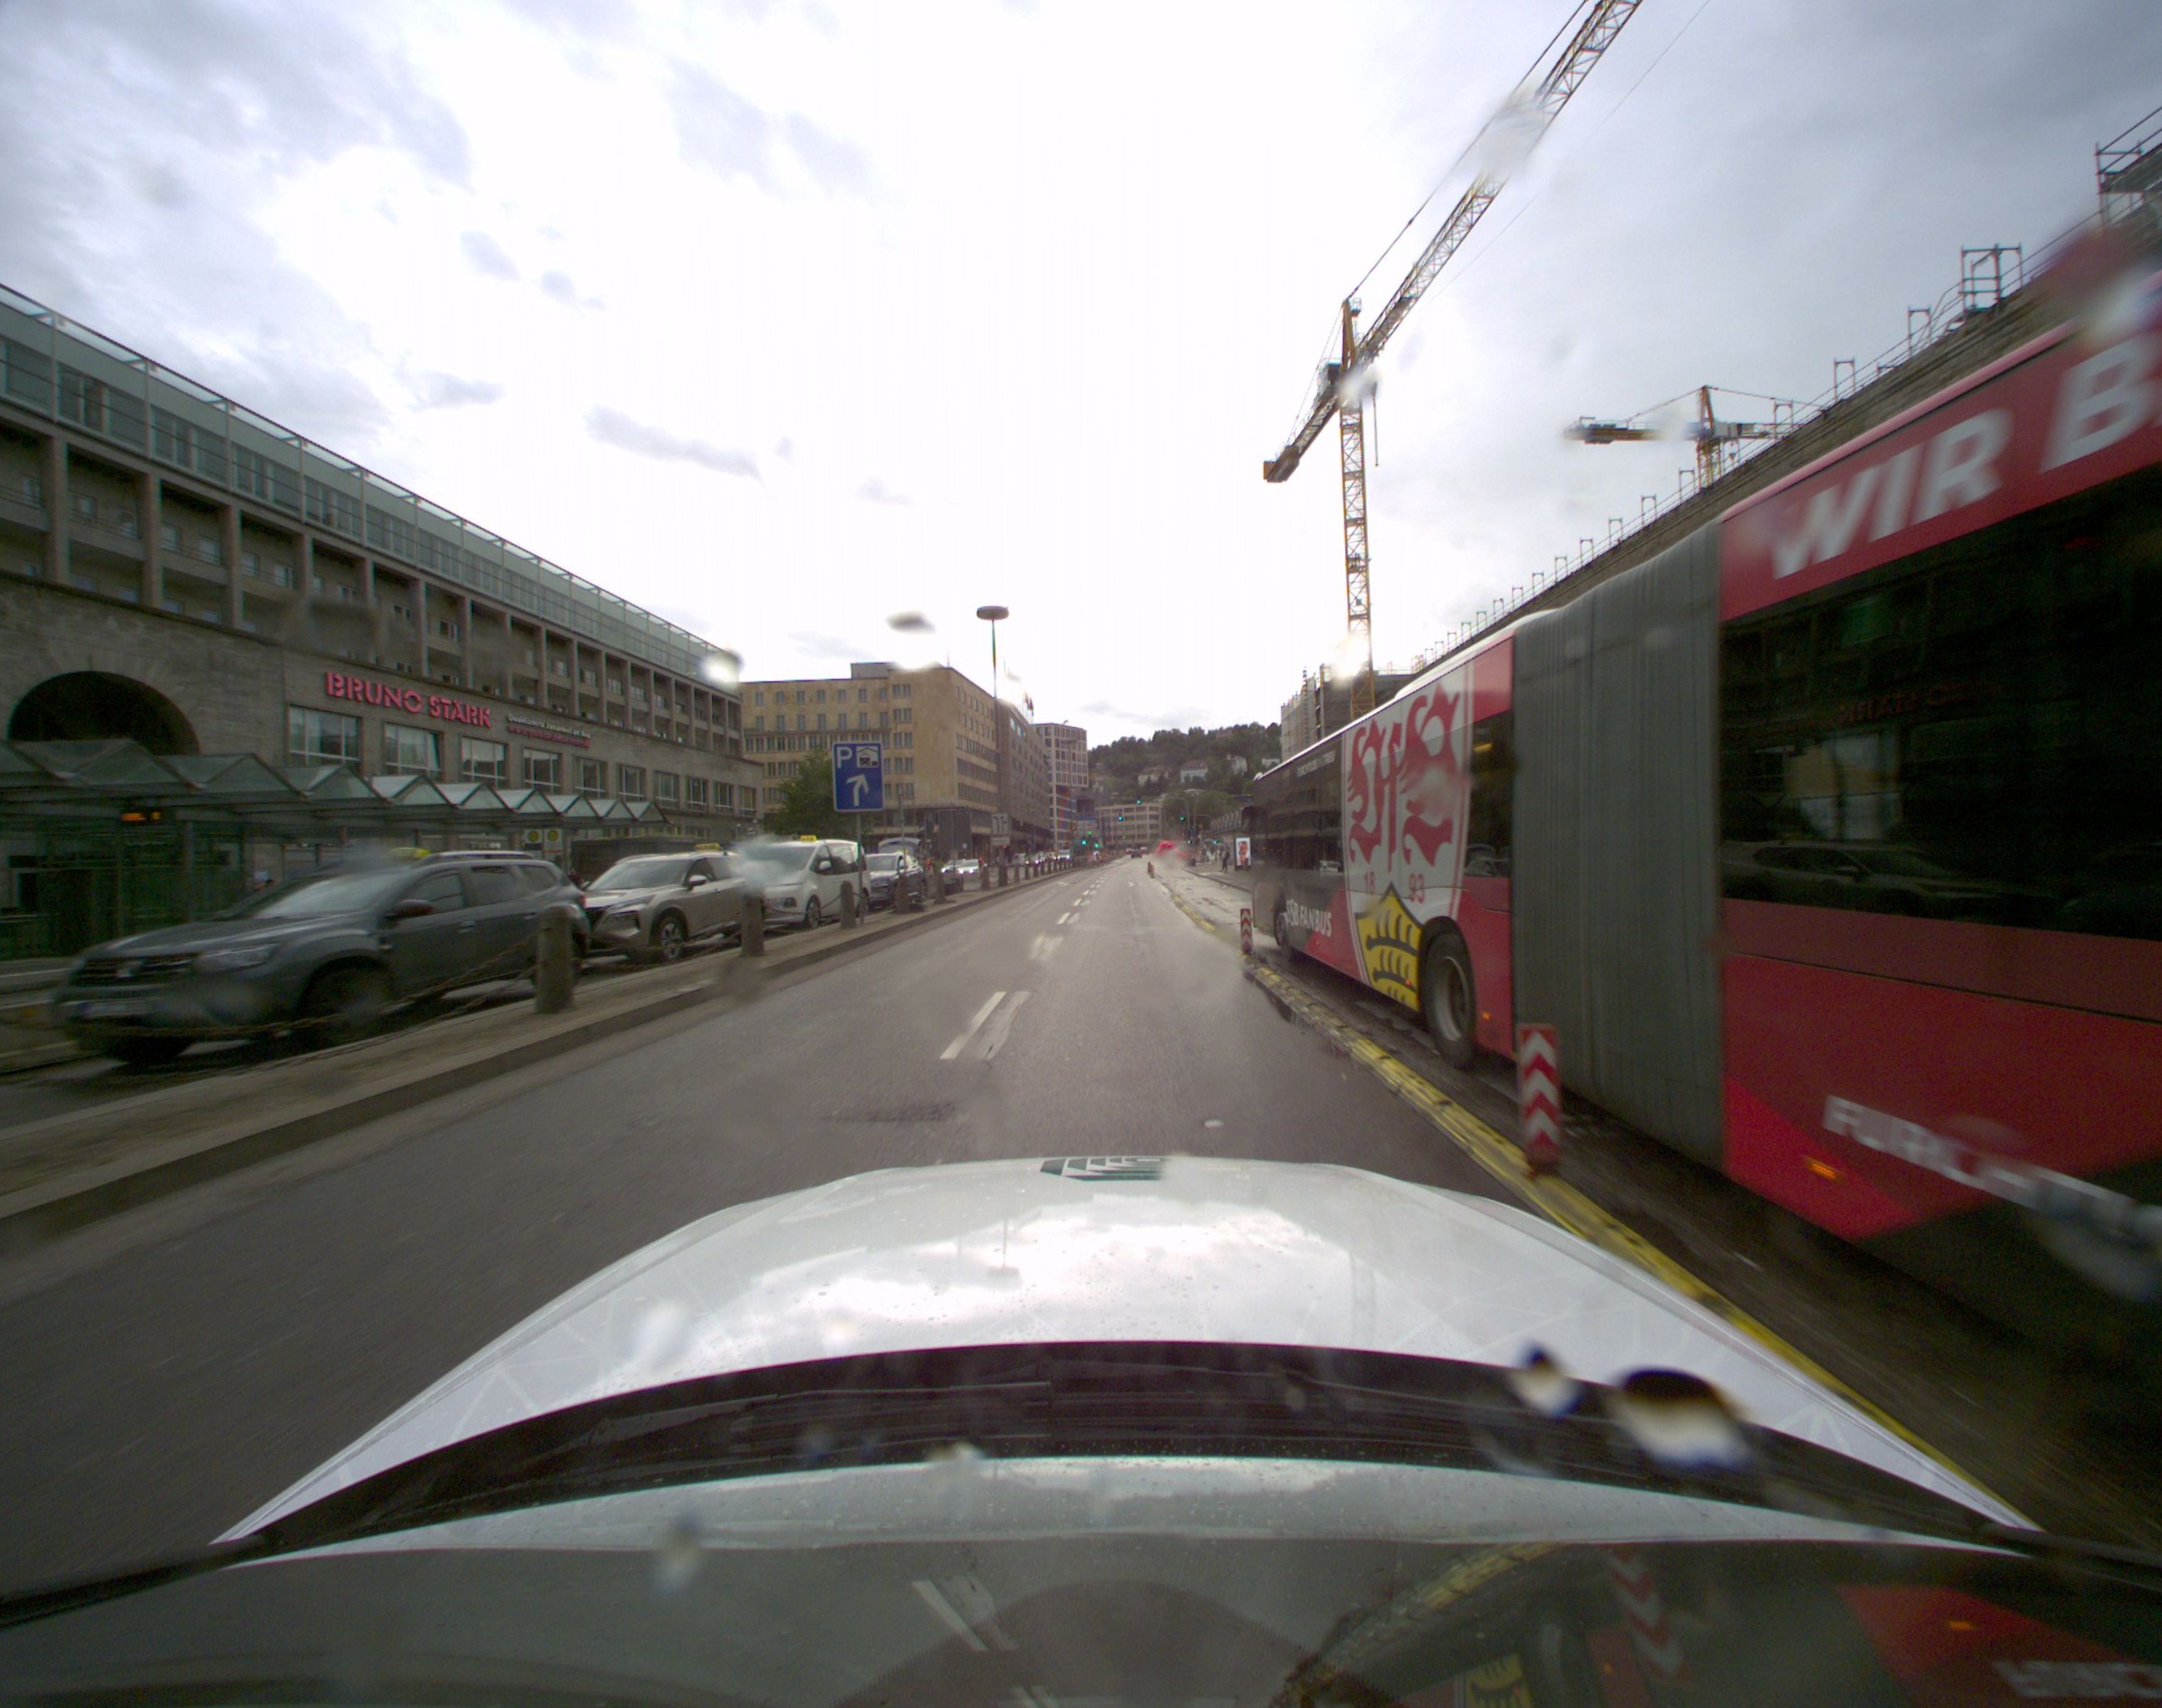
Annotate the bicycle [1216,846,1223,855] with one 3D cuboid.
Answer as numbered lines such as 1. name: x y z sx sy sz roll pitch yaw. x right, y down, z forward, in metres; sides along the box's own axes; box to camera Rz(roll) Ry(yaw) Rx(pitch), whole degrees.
1. bicycle: 16.529 -0.410 97.180 0.703 1.049 1.811 -1 1 10

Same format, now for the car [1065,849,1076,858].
1. car: -2.049 -0.129 164.789 1.759 1.609 4.233 -2 0 5

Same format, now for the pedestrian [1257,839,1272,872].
1. pedestrian: 8.868 0.067 39.312 0.519 1.566 0.729 -2 0 2

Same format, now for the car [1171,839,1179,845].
1. car: 25.623 -3.273 222.777 1.985 1.442 4.004 0 1 4

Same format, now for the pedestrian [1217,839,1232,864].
1. pedestrian: 9.844 -0.194 55.935 0.704 1.679 0.717 -2 0 -24

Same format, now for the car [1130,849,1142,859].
1. car: 9.898 0.010 146.184 1.985 1.552 4.003 -2 0 3

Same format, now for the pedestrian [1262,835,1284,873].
1. pedestrian: 8.829 0.001 37.485 0.759 1.693 0.822 -2 0 2

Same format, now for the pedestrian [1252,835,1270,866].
1. pedestrian: 9.725 -0.181 44.029 0.805 1.660 0.805 -1 0 3

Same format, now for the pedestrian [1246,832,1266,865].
1. pedestrian: 11.054 -0.372 51.578 0.808 2.050 0.916 -1 0 -37

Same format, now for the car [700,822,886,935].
1. car: -6.397 0.463 18.962 1.985 2.178 5.549 -2 0 3

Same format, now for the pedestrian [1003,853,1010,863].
1. pedestrian: -11.983 0.582 130.780 0.790 1.526 0.918 -2 0 7

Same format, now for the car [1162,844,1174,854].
1. car: 15.745 -0.920 147.844 1.985 1.706 4.004 -2 0 4

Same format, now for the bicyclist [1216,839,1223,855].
1. bicyclist: 16.522 -0.834 97.158 0.699 1.845 0.970 -1 0 10

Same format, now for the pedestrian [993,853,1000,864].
1. pedestrian: -12.387 0.606 119.038 0.717 1.557 0.896 -2 0 6

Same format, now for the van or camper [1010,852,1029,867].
1. van or camper: -9.197 0.793 122.307 1.984 2.013 4.972 -2 0 5

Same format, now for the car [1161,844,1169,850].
1. car: 21.071 -1.743 204.505 1.811 1.442 4.005 0 1 4

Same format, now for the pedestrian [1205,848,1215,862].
1. pedestrian: 14.946 0.112 94.421 0.787 1.608 0.841 -2 0 34

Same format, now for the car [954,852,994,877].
1. car: -7.719 0.717 59.209 1.954 1.564 4.838 -4 1 2

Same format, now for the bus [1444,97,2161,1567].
1. bus: 3.589 -0.049 0.827 2.744 3.068 9.086 -1 0 3

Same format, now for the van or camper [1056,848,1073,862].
1. van or camper: -2.522 0.090 124.169 1.984 2.013 5.197 -2 0 6

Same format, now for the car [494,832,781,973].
1. car: -6.868 0.659 13.341 1.922 1.806 4.586 -3 0 3

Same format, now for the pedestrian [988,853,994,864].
1. pedestrian: -13.162 0.646 119.036 0.717 1.557 0.907 -2 0 6

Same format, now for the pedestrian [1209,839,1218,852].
1. pedestrian: 19.636 -1.215 121.078 0.937 1.841 0.953 -2 0 35

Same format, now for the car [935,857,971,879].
1. car: -10.601 1.103 67.624 1.954 1.564 4.838 -4 1 2

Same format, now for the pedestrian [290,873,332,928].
1. pedestrian: -29.653 1.766 31.366 0.800 2.041 0.772 -2 0 4

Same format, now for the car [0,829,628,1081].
1. car: -6.998 0.726 8.224 1.923 1.698 4.886 -3 0 1

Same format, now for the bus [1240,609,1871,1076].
1. bus: 3.999 -0.066 9.882 2.744 3.066 8.999 -1 0 3

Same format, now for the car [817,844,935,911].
1. car: -5.939 0.622 24.294 1.985 1.722 4.787 -2 0 4

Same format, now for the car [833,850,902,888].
1. car: -9.558 0.634 36.738 1.987 1.552 3.999 -2 0 0

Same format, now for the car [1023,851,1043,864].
1. car: -6.561 0.469 111.581 1.983 1.617 4.986 -2 0 6
